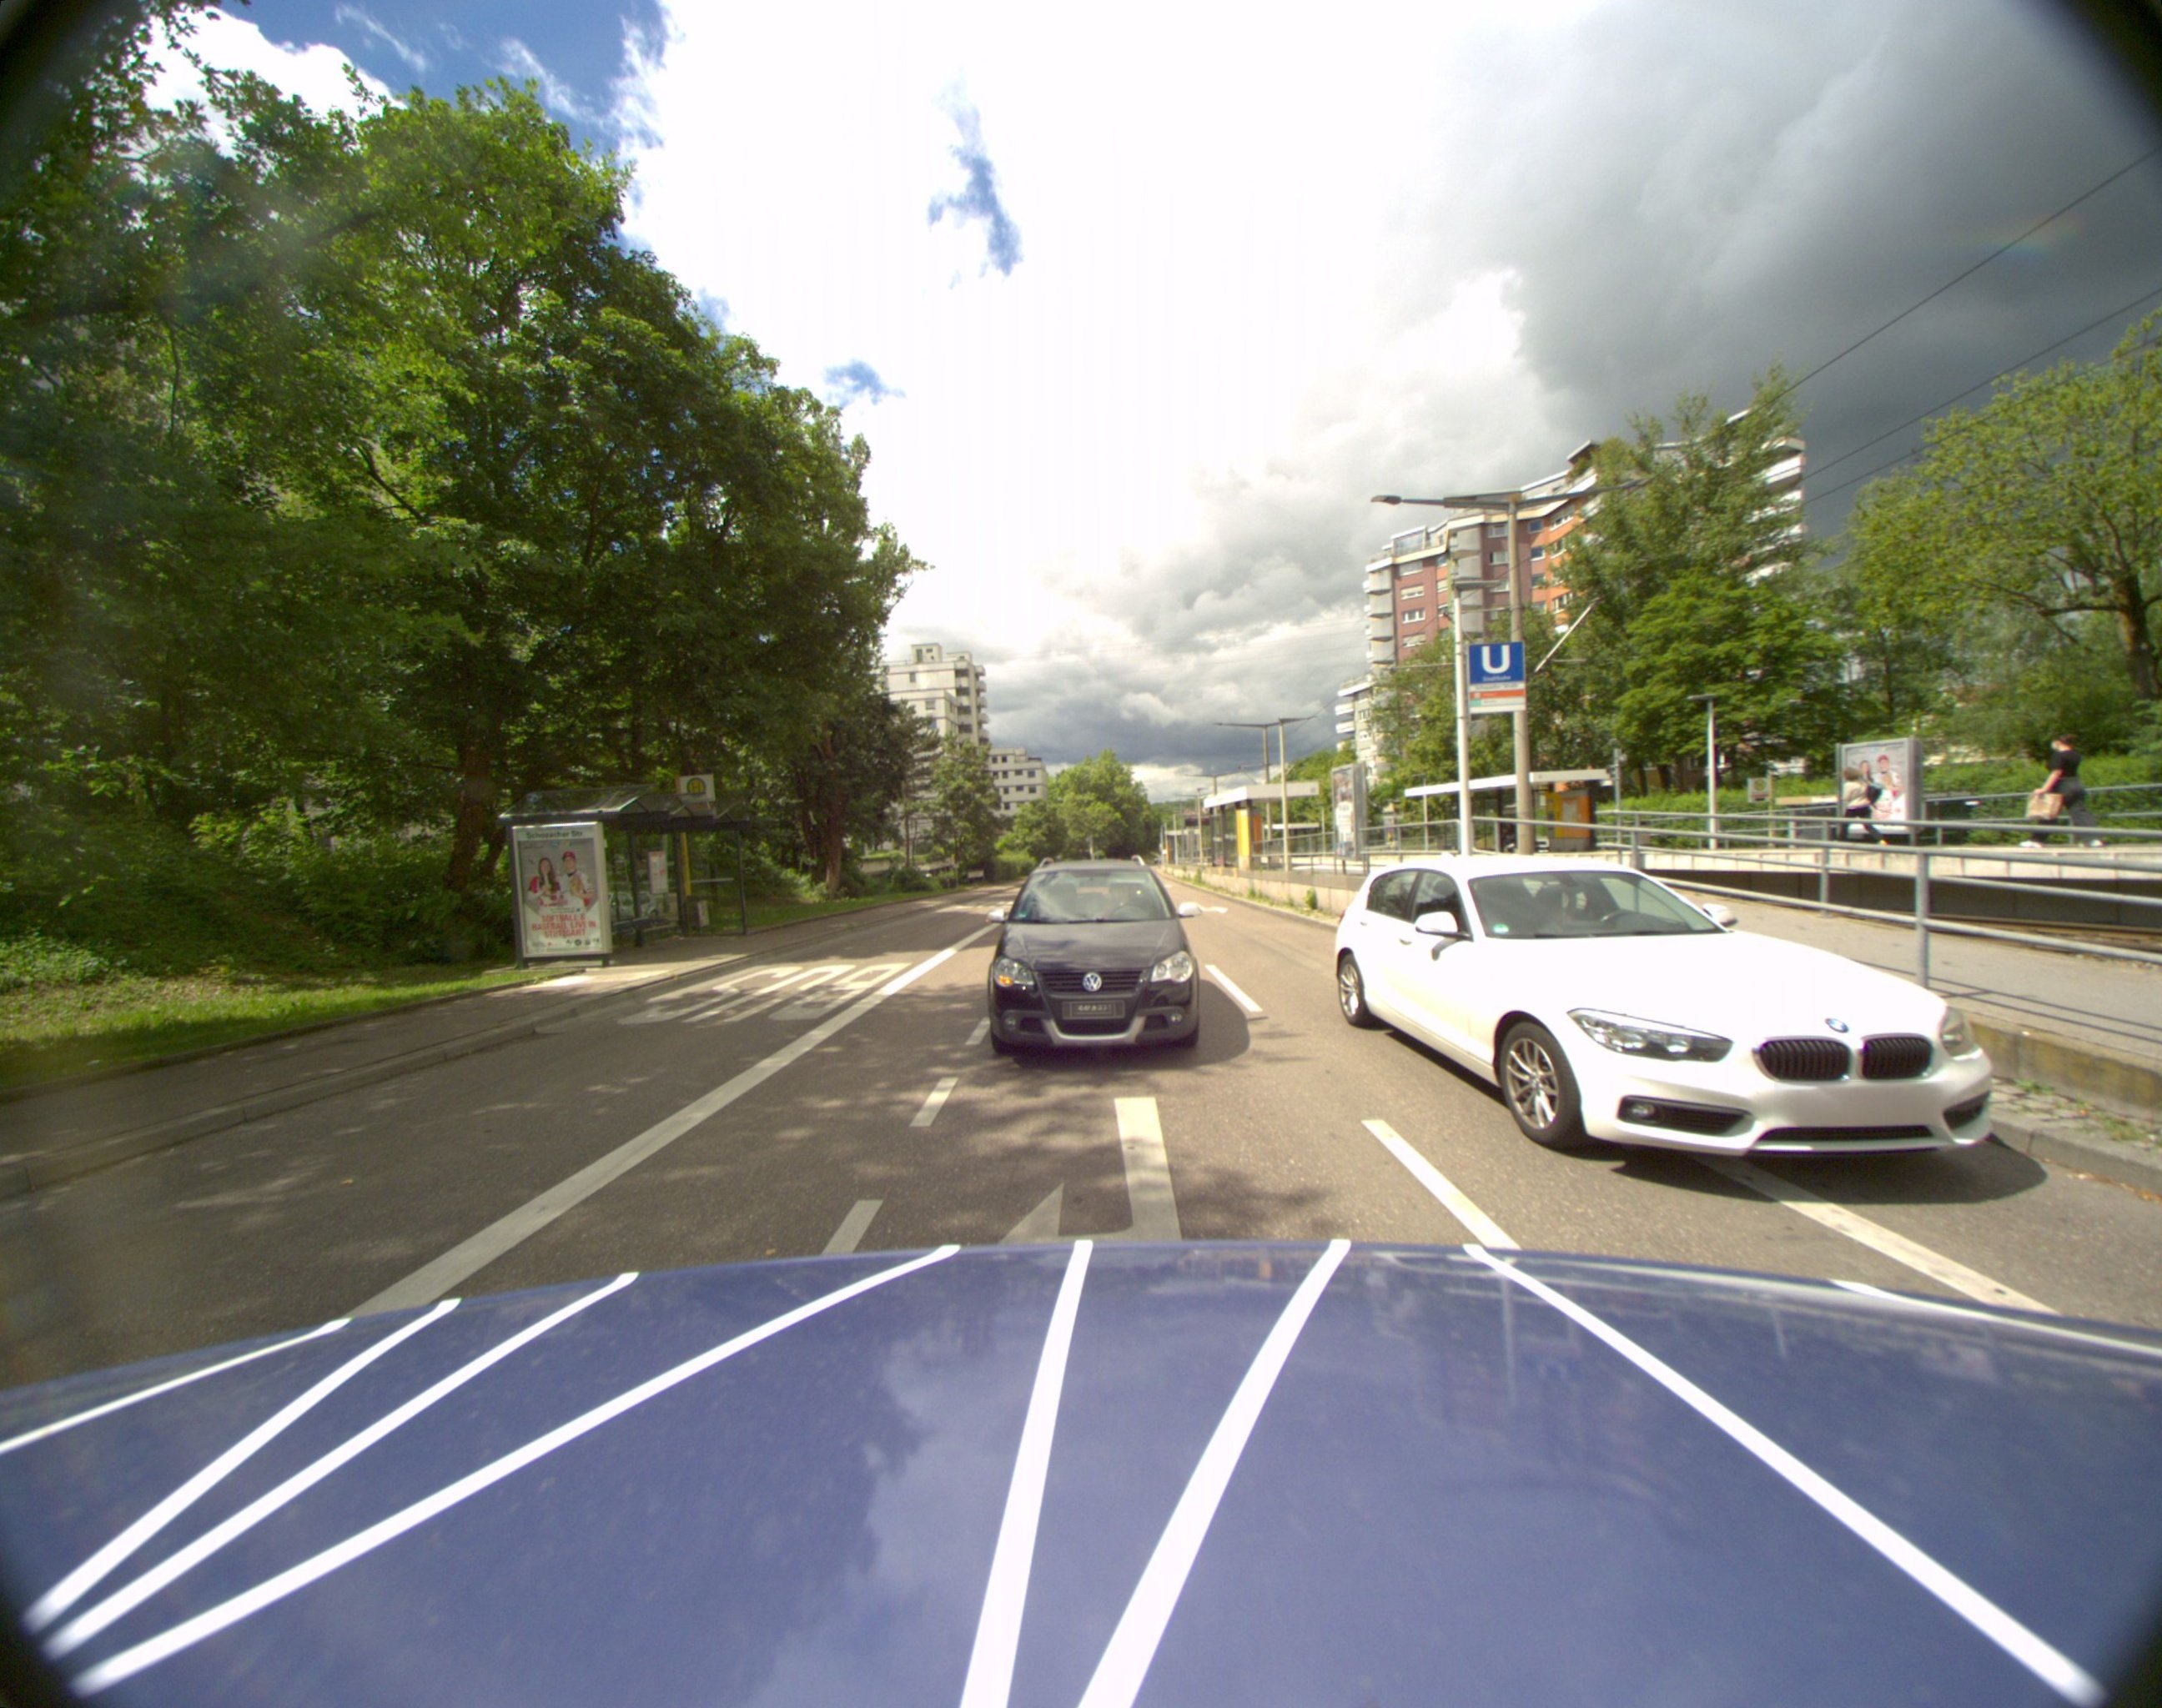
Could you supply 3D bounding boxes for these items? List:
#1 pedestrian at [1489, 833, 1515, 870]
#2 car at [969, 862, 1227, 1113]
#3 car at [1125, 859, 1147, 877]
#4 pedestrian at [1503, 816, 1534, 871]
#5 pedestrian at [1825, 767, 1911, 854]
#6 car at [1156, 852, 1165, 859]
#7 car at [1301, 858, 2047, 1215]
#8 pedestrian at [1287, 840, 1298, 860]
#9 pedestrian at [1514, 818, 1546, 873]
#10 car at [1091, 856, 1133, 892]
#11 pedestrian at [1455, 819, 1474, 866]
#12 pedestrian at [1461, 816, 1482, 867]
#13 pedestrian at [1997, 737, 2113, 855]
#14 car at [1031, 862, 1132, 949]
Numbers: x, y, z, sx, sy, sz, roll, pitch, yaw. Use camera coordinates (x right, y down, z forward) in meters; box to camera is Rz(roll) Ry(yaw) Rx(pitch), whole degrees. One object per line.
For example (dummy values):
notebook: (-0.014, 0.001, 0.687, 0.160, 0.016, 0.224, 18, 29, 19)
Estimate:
pedestrian: (16.446, -0.097, 29.687, 0.645, 1.407, 0.658, -2, 1, 1)
car: (-0.010, 0.910, 6.984, 1.682, 1.529, 3.791, -2, 1, -4)
car: (4.752, 1.175, 65.889, 1.845, 1.409, 4.001, -2, 1, 4)
pedestrian: (16.381, -0.382, 28.434, 0.780, 2.002, 0.584, -2, 1, 1)
pedestrian: (15.186, -0.826, 14.686, 0.865, 1.597, 0.747, -2, 1, 0)
car: (15.410, 0.261, 147.203, 1.805, 1.208, 4.023, -2, 1, 7)
car: (3.084, 0.775, 5.290, 1.794, 1.442, 4.275, 0, 0, -1)
pedestrian: (18.269, -0.345, 65.530, 0.774, 1.696, 0.766, -2, 1, 9)
pedestrian: (16.239, -0.314, 27.483, 0.771, 1.920, 0.573, -2, 1, -1)
car: (1.438, 0.929, 36.804, 1.846, 1.553, 3.999, -2, 1, 1)
pedestrian: (16.602, -0.481, 32.901, 0.517, 2.002, 0.557, -2, 1, 1)
pedestrian: (16.567, -0.514, 32.234, 0.532, 2.129, 0.608, -2, 1, 4)
pedestrian: (15.344, -0.885, 11.986, 0.865, 1.763, 0.747, -2, 1, 0)
car: (-0.020, 0.964, 15.971, 1.819, 1.483, 3.999, -1, 1, -1)
